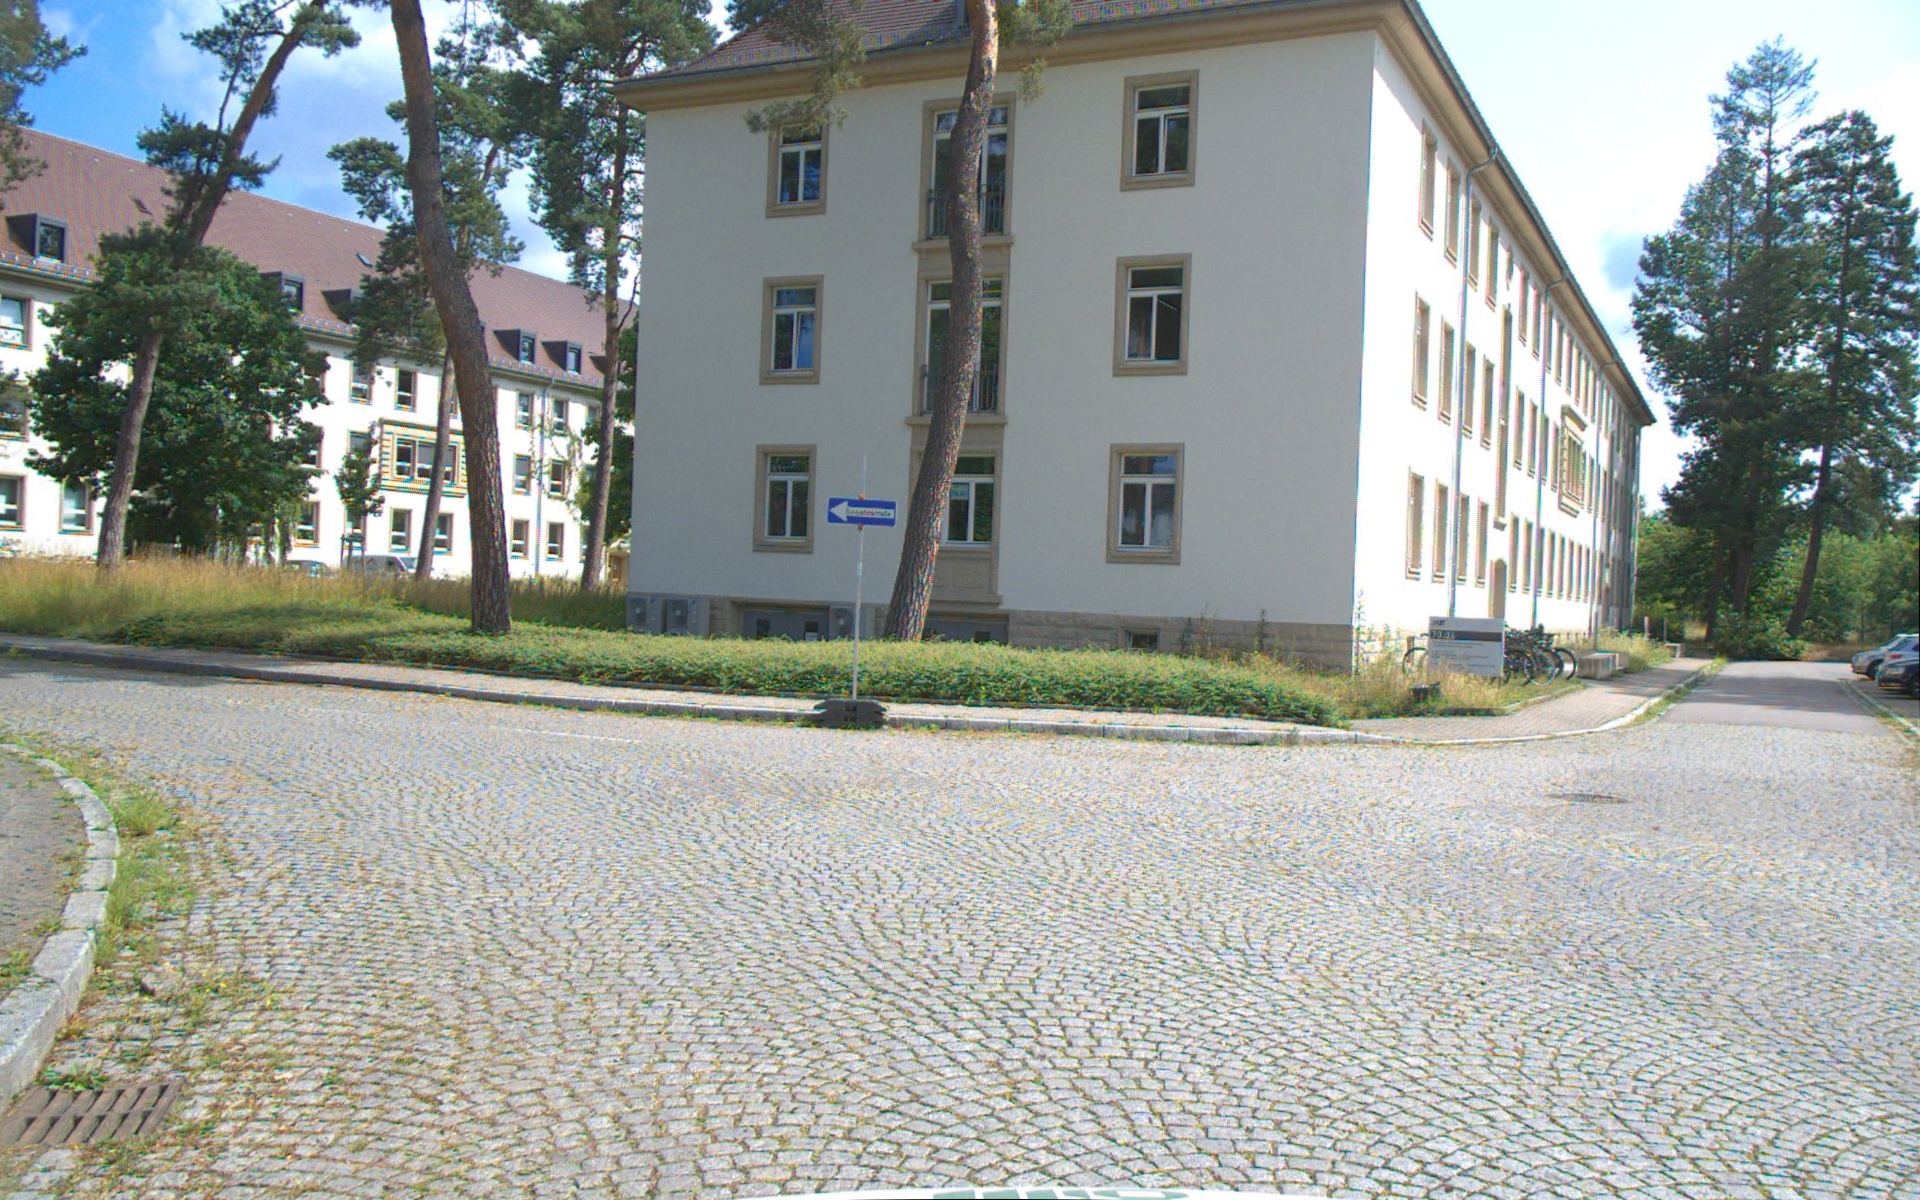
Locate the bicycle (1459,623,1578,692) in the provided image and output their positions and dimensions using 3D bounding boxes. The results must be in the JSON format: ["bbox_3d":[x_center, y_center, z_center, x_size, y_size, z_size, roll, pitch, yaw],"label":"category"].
[{"bbox_3d":[11.291,1.157,33.473,2.180,1.282,0.622,2,0,29],"label":"bicycle"}]

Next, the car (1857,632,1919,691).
[{"bbox_3d":[25.945,1.636,43.474,4.107,1.510,1.817,1,-1,28],"label":"car"}]

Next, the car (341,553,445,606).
[{"bbox_3d":[-23.377,-0.855,68.187,3.981,2.026,1.711,2,0,27],"label":"car"}]

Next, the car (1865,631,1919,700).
[{"bbox_3d":[23.545,1.562,38.720,4.107,1.570,1.817,1,-1,28],"label":"car"}]

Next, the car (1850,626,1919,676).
[{"bbox_3d":[29.932,1.598,51.275,4.107,1.510,1.817,1,-1,28],"label":"car"}]

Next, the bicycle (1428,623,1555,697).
[{"bbox_3d":[9.973,1.109,31.063,2.180,1.282,0.622,2,0,29],"label":"bicycle"}]

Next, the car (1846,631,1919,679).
[{"bbox_3d":[31.170,1.803,53.796,4.107,1.510,1.817,1,-1,28],"label":"car"}]

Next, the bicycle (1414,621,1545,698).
[{"bbox_3d":[9.530,1.078,30.389,2.183,1.282,0.621,2,0,33],"label":"bicycle"}]

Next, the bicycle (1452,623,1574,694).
[{"bbox_3d":[10.871,1.141,32.556,2.180,1.282,0.622,2,0,29],"label":"bicycle"}]

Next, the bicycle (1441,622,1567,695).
[{"bbox_3d":[10.467,1.112,31.864,2.183,1.282,0.621,2,0,33],"label":"bicycle"}]
